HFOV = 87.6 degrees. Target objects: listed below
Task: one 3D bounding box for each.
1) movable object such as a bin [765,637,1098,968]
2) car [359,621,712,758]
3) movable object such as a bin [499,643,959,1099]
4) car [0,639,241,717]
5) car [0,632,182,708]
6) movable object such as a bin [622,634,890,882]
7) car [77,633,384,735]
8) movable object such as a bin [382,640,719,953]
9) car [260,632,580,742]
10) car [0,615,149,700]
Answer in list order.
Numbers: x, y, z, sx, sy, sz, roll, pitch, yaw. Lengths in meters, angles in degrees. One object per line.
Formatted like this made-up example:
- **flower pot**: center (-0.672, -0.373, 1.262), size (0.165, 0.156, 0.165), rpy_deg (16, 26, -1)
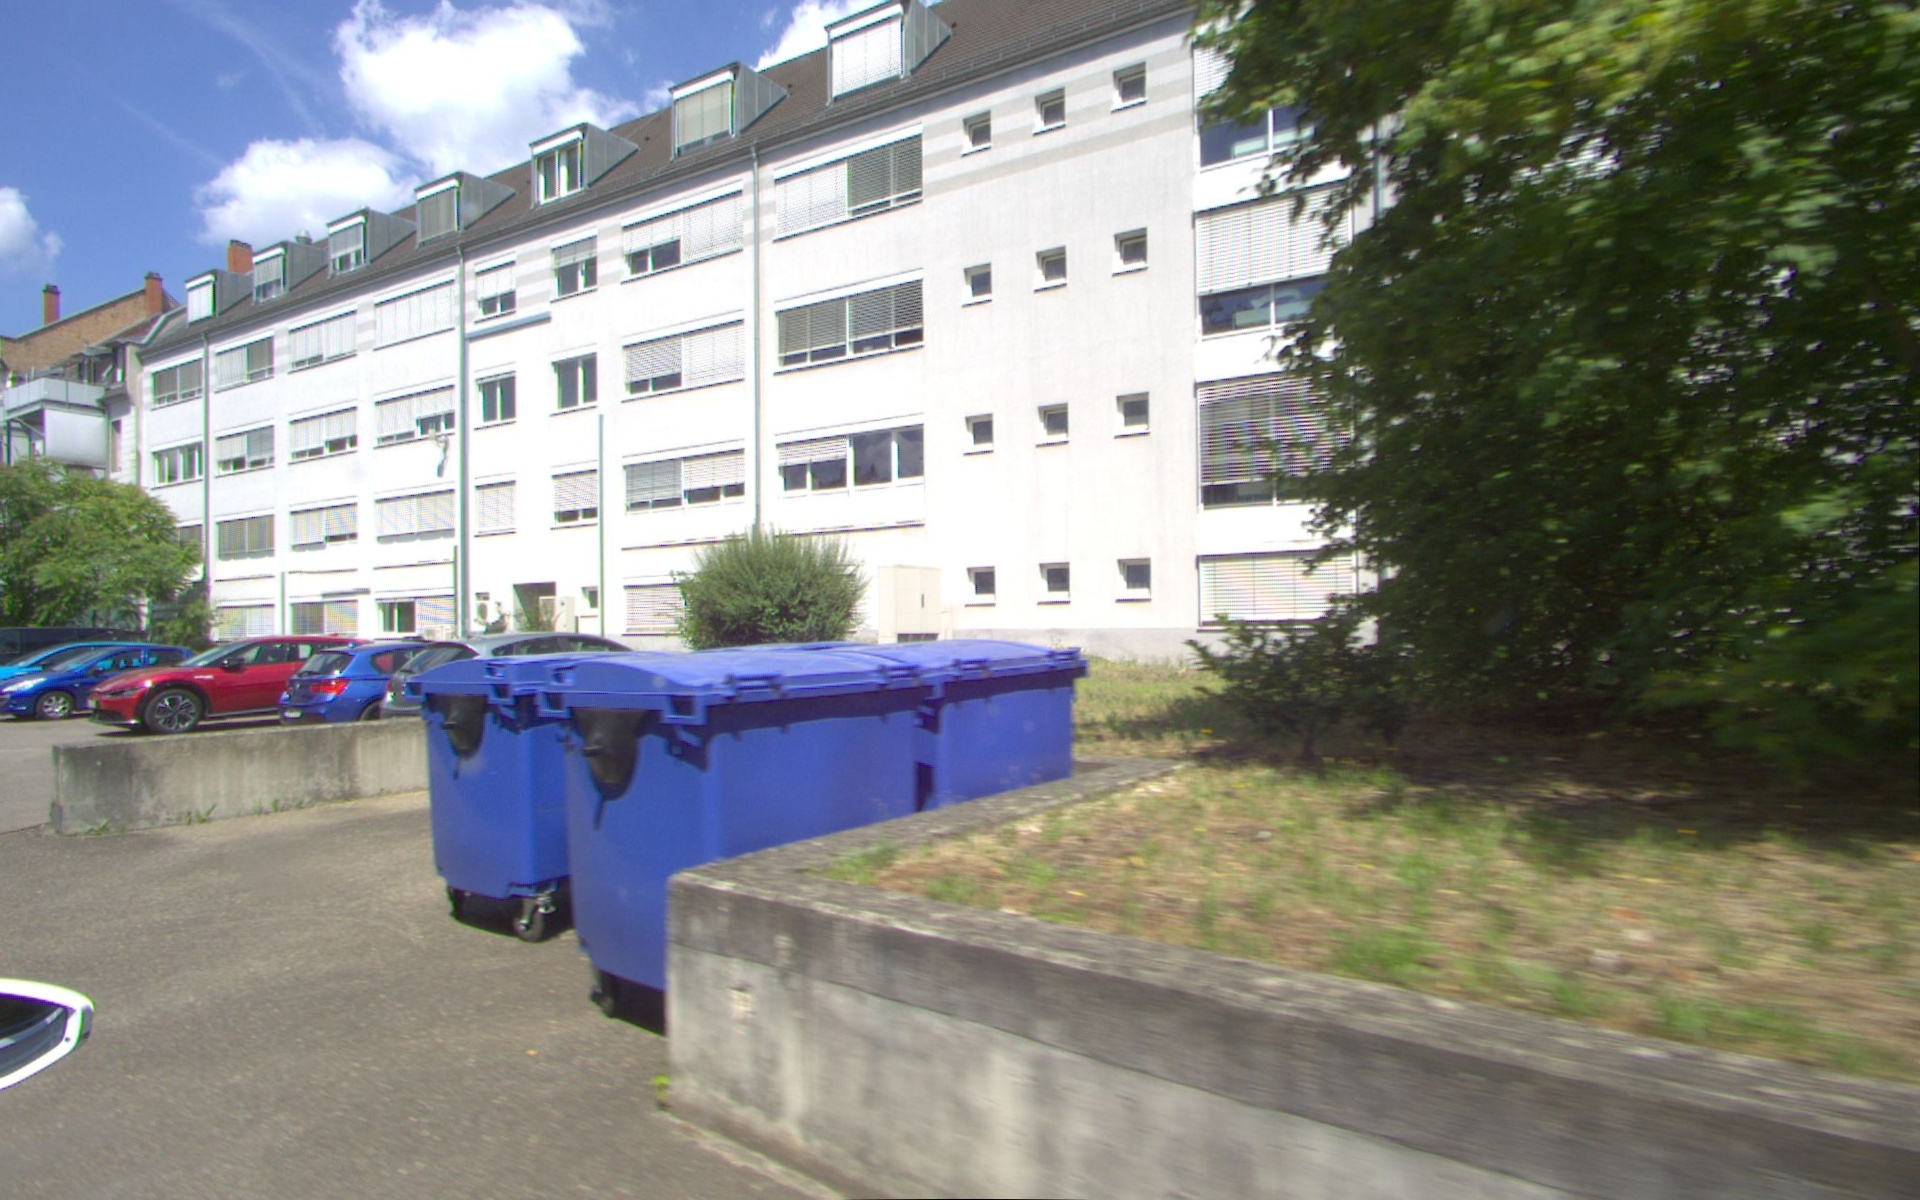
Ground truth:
- **movable object such as a bin**: center (-0.125, 0.866, 4.974), size (1.146, 1.344, 1.211), rpy_deg (-1, -1, 39)
- **car**: center (-5.398, 1.039, 13.196), size (1.780, 1.497, 3.977), rpy_deg (-1, -1, 34)
- **movable object such as a bin**: center (-0.867, 0.856, 3.915), size (1.146, 1.344, 1.333), rpy_deg (-1, -1, 39)
- **car**: center (-17.856, 1.562, 21.169), size (1.780, 1.408, 3.977), rpy_deg (-1, -1, 34)
- **car**: center (-20.368, 1.538, 22.717), size (1.780, 1.554, 3.977), rpy_deg (-1, -1, 34)
- **movable object such as a bin**: center (-1.268, 0.900, 6.346), size (1.145, 1.344, 1.213), rpy_deg (-1, -1, 34)
- **car**: center (-12.499, 1.347, 17.395), size (1.780, 1.497, 3.977), rpy_deg (-1, -1, 34)
- **movable object such as a bin**: center (-2.097, 0.889, 5.189), size (1.145, 1.344, 1.189), rpy_deg (-1, -1, 34)
- **car**: center (-8.120, 1.225, 15.383), size (1.780, 1.408, 3.977), rpy_deg (-1, -1, 34)
- **car**: center (-22.924, 1.378, 24.308), size (2.049, 1.983, 4.665), rpy_deg (-1, -1, 34)
